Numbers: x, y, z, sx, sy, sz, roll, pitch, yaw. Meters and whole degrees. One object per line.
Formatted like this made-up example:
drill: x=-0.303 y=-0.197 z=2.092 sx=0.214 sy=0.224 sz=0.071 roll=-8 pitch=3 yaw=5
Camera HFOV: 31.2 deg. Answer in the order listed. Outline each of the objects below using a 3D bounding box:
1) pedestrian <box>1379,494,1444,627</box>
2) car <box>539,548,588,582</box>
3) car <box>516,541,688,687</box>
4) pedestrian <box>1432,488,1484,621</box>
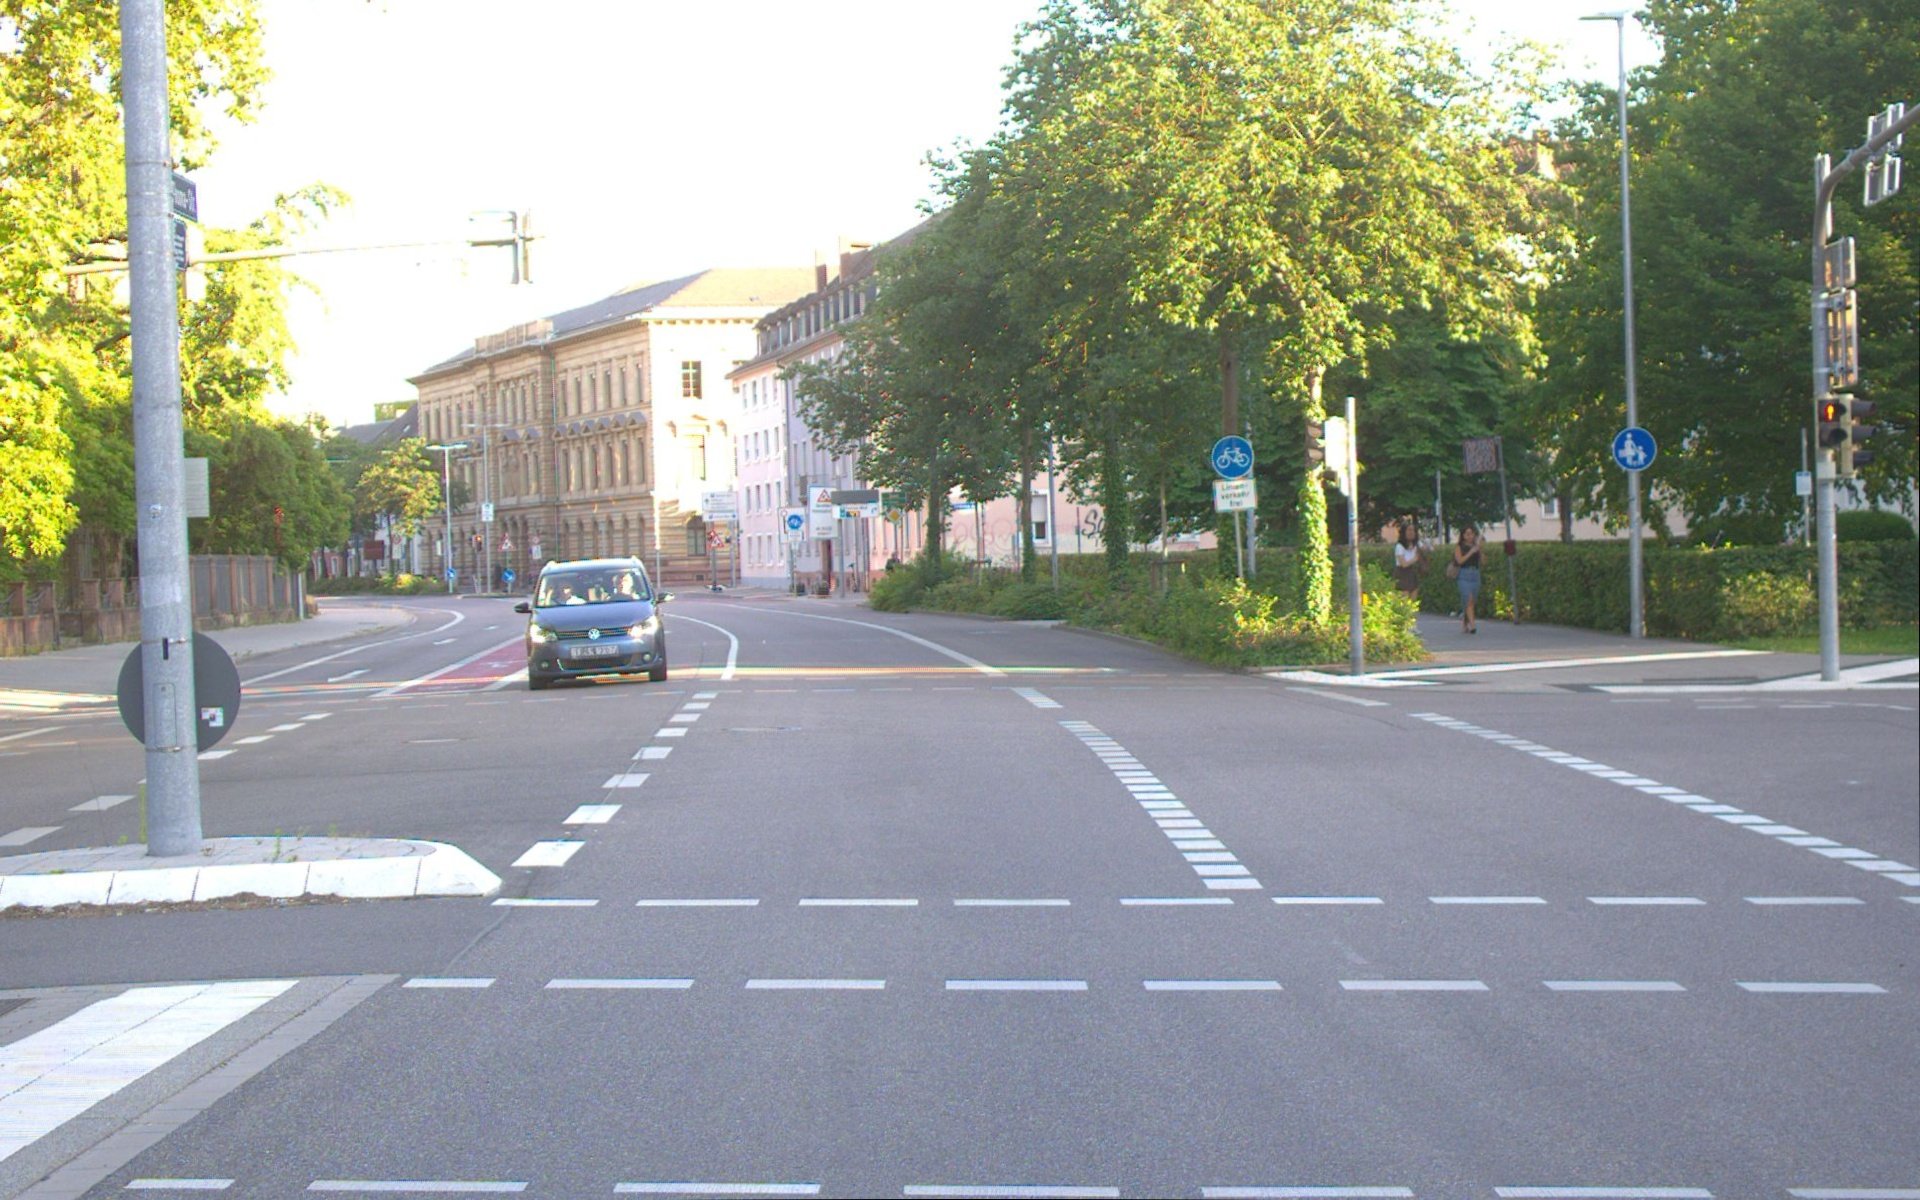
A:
pedestrian: x=6.890 y=-0.599 z=52.454 sx=0.870 sy=2.007 sz=0.722 roll=0 pitch=1 yaw=-1
car: x=-19.583 y=-1.714 z=169.741 sx=1.819 sy=1.583 sz=4.001 roll=-3 pitch=1 yaw=-14
car: x=-4.661 y=0.144 z=45.245 sx=1.849 sy=1.714 sz=4.296 roll=-3 pitch=1 yaw=-2
pedestrian: x=7.614 y=-0.697 z=52.589 sx=0.635 sy=2.007 sz=0.720 roll=-1 pitch=1 yaw=-4
